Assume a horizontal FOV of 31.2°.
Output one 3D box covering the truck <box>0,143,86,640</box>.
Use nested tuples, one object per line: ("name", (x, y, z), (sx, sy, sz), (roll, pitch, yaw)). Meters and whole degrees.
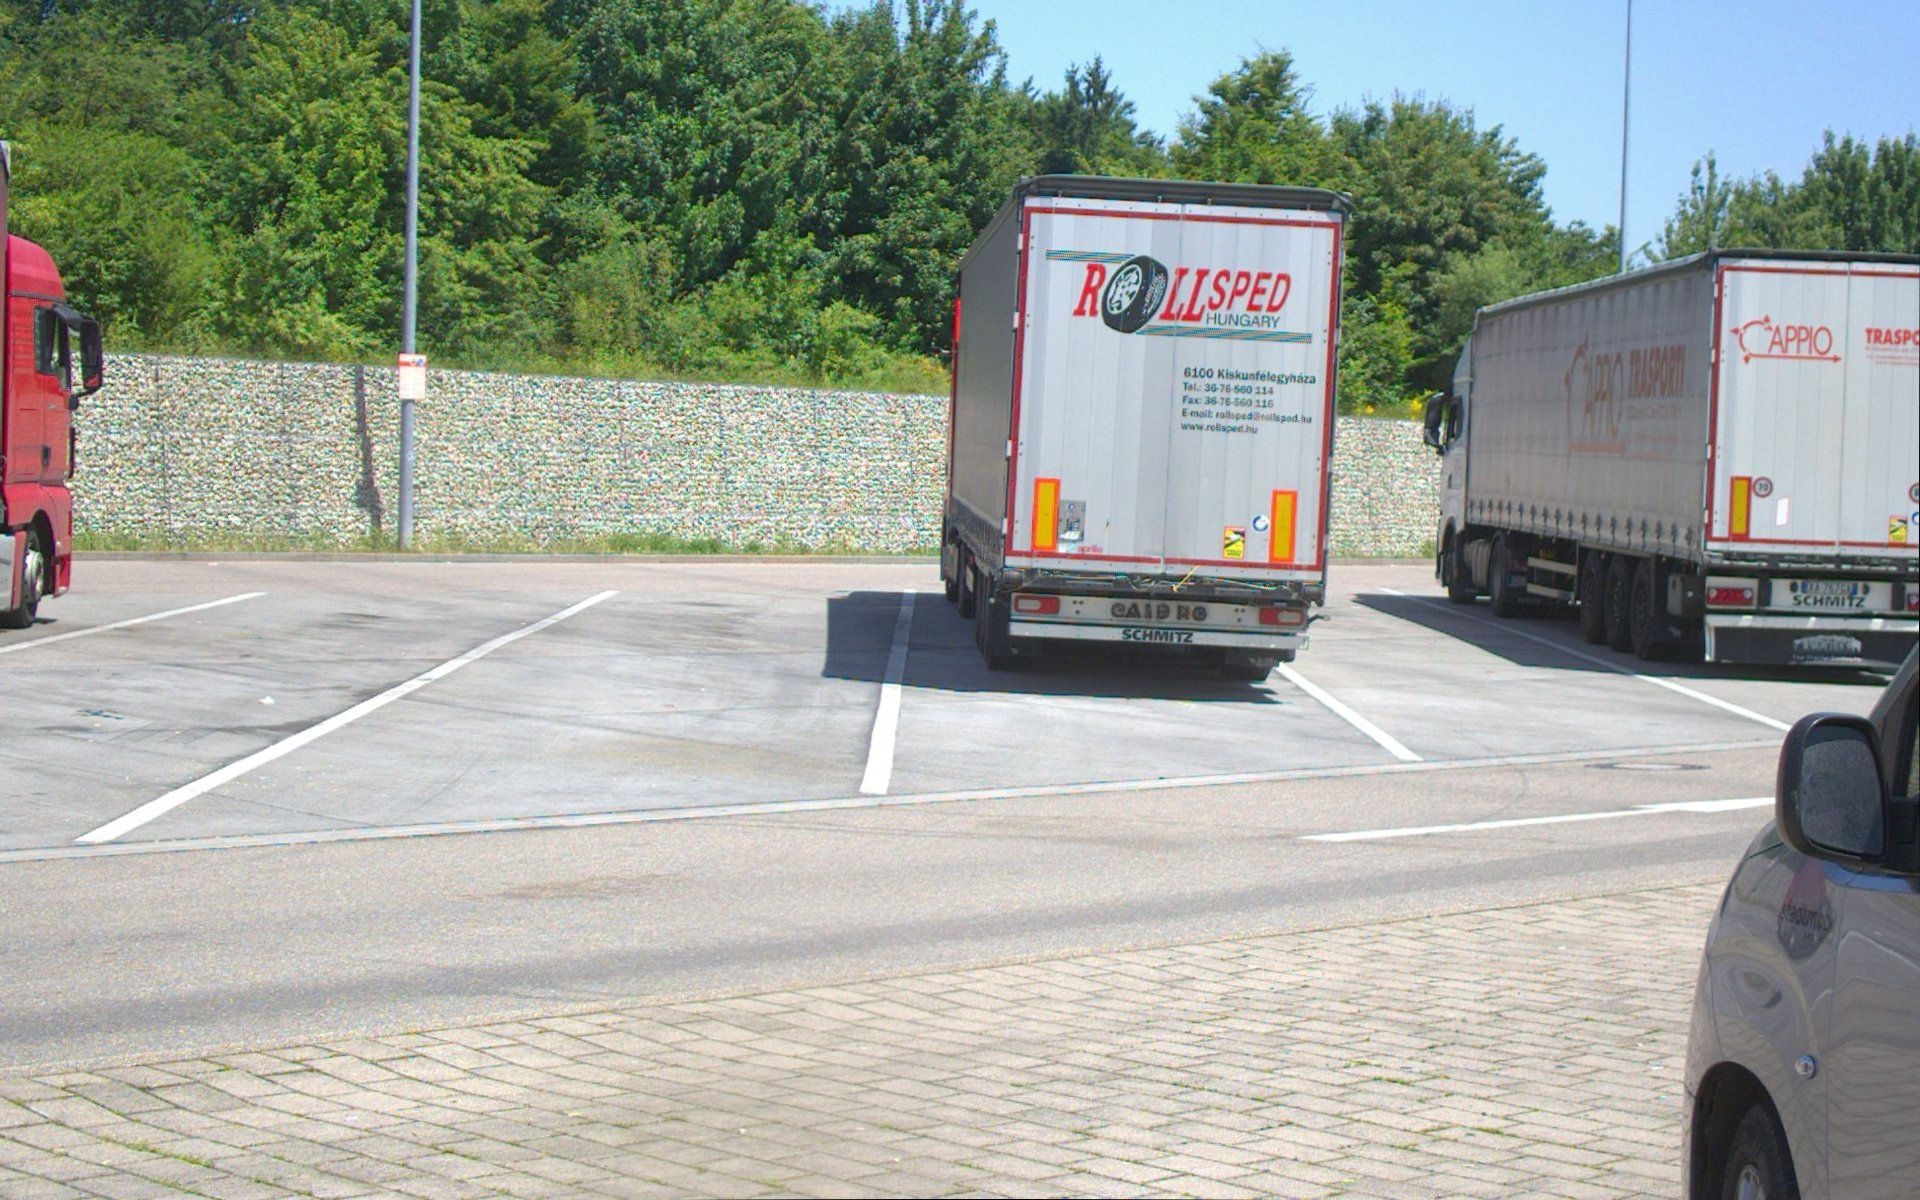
("truck", (-9.235, -1.703, 27.667), (2.743, 4.067, 6.830), (1, 2, -1))

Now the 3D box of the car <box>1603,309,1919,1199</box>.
("car", (2.132, 0.539, 3.806), (1.825, 1.747, 4.001), (1, 2, -4))

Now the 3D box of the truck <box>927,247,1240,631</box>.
("truck", (1.260, -1.856, 39.417), (3.026, 3.915, 6.847), (2, 3, -2))

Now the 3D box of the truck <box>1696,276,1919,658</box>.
("truck", (11.727, -1.476, 39.818), (2.904, 4.110, 14.528), (3, 2, -1))

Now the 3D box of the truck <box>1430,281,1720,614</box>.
("truck", (8.024, -1.990, 45.481), (2.757, 4.110, 5.285), (1, 2, -1))

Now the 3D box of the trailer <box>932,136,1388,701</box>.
("trailer", (1.475, -1.698, 32.649), (3.069, 4.213, 12.810), (2, 3, -2))

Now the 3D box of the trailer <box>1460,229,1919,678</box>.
("trailer", (8.137, -1.575, 38.485), (2.876, 4.110, 13.572), (1, 2, -1))
